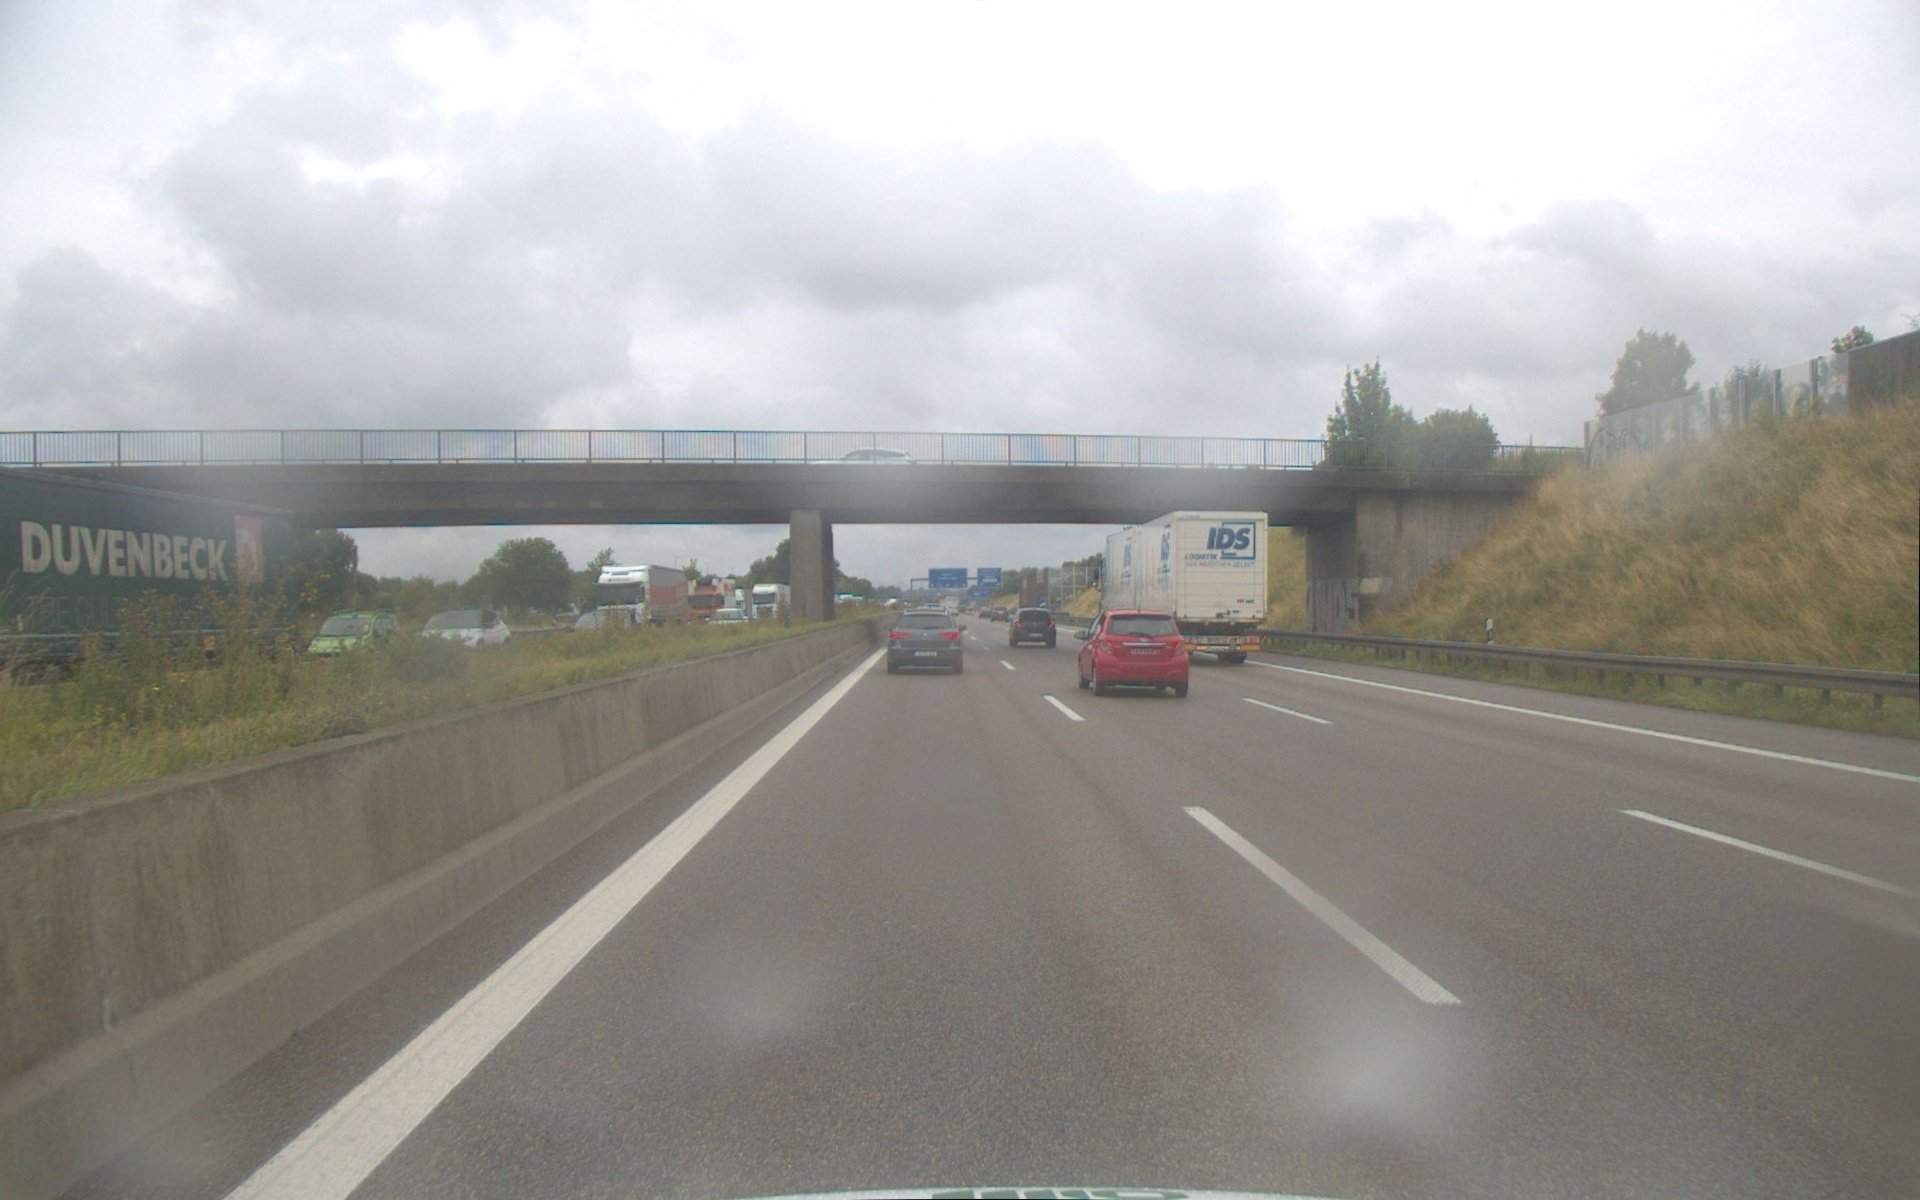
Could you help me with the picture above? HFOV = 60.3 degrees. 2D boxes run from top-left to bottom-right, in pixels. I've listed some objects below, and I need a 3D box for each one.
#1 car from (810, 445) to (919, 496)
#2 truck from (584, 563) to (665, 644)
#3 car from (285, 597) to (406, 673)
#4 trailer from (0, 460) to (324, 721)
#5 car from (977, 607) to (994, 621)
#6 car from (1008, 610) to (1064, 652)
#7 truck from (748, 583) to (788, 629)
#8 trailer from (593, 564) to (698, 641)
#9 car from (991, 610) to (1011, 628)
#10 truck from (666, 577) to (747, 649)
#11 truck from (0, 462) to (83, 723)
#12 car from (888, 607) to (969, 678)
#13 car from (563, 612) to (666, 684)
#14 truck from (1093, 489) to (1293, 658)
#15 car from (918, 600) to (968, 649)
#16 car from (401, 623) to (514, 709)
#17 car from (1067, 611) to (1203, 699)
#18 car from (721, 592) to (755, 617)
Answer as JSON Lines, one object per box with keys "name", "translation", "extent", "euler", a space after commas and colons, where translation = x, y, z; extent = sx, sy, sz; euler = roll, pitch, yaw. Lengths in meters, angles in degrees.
{"name": "car", "translation": [-3.722, -5.003, 64.125], "extent": [3.920, 1.646, 1.873], "euler": [1, -1, -14]}
{"name": "truck", "translation": [-17.818, 0.231, 88.081], "extent": [3.206, 4.116, 5.291], "euler": [1, -1, -1]}
{"name": "car", "translation": [-17.542, 0.988, 47.429], "extent": [1.953, 2.049, 3.999], "euler": [1, -1, -1]}
{"name": "trailer", "translation": [-16.615, -0.081, 32.528], "extent": [2.701, 4.121, 14.515], "euler": [1, -1, -1]}
{"name": "car", "translation": [3.341, 1.838, 217.131], "extent": [1.953, 1.844, 4.226], "euler": [-1, 0, -1]}
{"name": "car", "translation": [2.942, 1.184, 64.690], "extent": [1.882, 1.548, 4.621], "euler": [0, 0, -1]}
{"name": "truck", "translation": [-19.153, 0.638, 165.526], "extent": [2.916, 4.395, 9.667], "euler": [1, -1, -1]}
{"name": "trailer", "translation": [-17.975, 0.266, 95.853], "extent": [3.256, 4.048, 15.740], "euler": [1, -1, -1]}
{"name": "car", "translation": [4.161, 1.935, 168.192], "extent": [1.808, 1.716, 3.998], "euler": [1, -1, -2]}
{"name": "truck", "translation": [-18.899, 1.034, 124.425], "extent": [3.951, 5.031, 14.430], "euler": [1, -1, -1]}
{"name": "truck", "translation": [-16.513, -0.151, 25.406], "extent": [2.701, 4.121, 6.253], "euler": [1, -1, -1]}
{"name": "car", "translation": [-0.737, 0.953, 37.965], "extent": [1.733, 1.493, 3.998], "euler": [1, -1, -2]}
{"name": "car", "translation": [-9.357, 1.277, 45.077], "extent": [1.953, 1.848, 3.999], "euler": [1, -1, -1]}
{"name": "truck", "translation": [6.849, -0.549, 52.741], "extent": [3.217, 4.370, 19.026], "euler": [1, -1, -1]}
{"name": "car", "translation": [-0.700, 0.994, 67.915], "extent": [1.953, 1.893, 3.999], "euler": [-1, 0, -1]}
{"name": "car", "translation": [-13.030, 1.668, 43.116], "extent": [1.749, 2.049, 3.999], "euler": [-1, 0, -1]}
{"name": "car", "translation": [3.120, 0.945, 30.377], "extent": [1.853, 1.472, 4.683], "euler": [0, 0, -2]}
{"name": "car", "translation": [-18.730, 0.408, 139.660], "extent": [2.113, 2.049, 5.236], "euler": [1, -1, -1]}
